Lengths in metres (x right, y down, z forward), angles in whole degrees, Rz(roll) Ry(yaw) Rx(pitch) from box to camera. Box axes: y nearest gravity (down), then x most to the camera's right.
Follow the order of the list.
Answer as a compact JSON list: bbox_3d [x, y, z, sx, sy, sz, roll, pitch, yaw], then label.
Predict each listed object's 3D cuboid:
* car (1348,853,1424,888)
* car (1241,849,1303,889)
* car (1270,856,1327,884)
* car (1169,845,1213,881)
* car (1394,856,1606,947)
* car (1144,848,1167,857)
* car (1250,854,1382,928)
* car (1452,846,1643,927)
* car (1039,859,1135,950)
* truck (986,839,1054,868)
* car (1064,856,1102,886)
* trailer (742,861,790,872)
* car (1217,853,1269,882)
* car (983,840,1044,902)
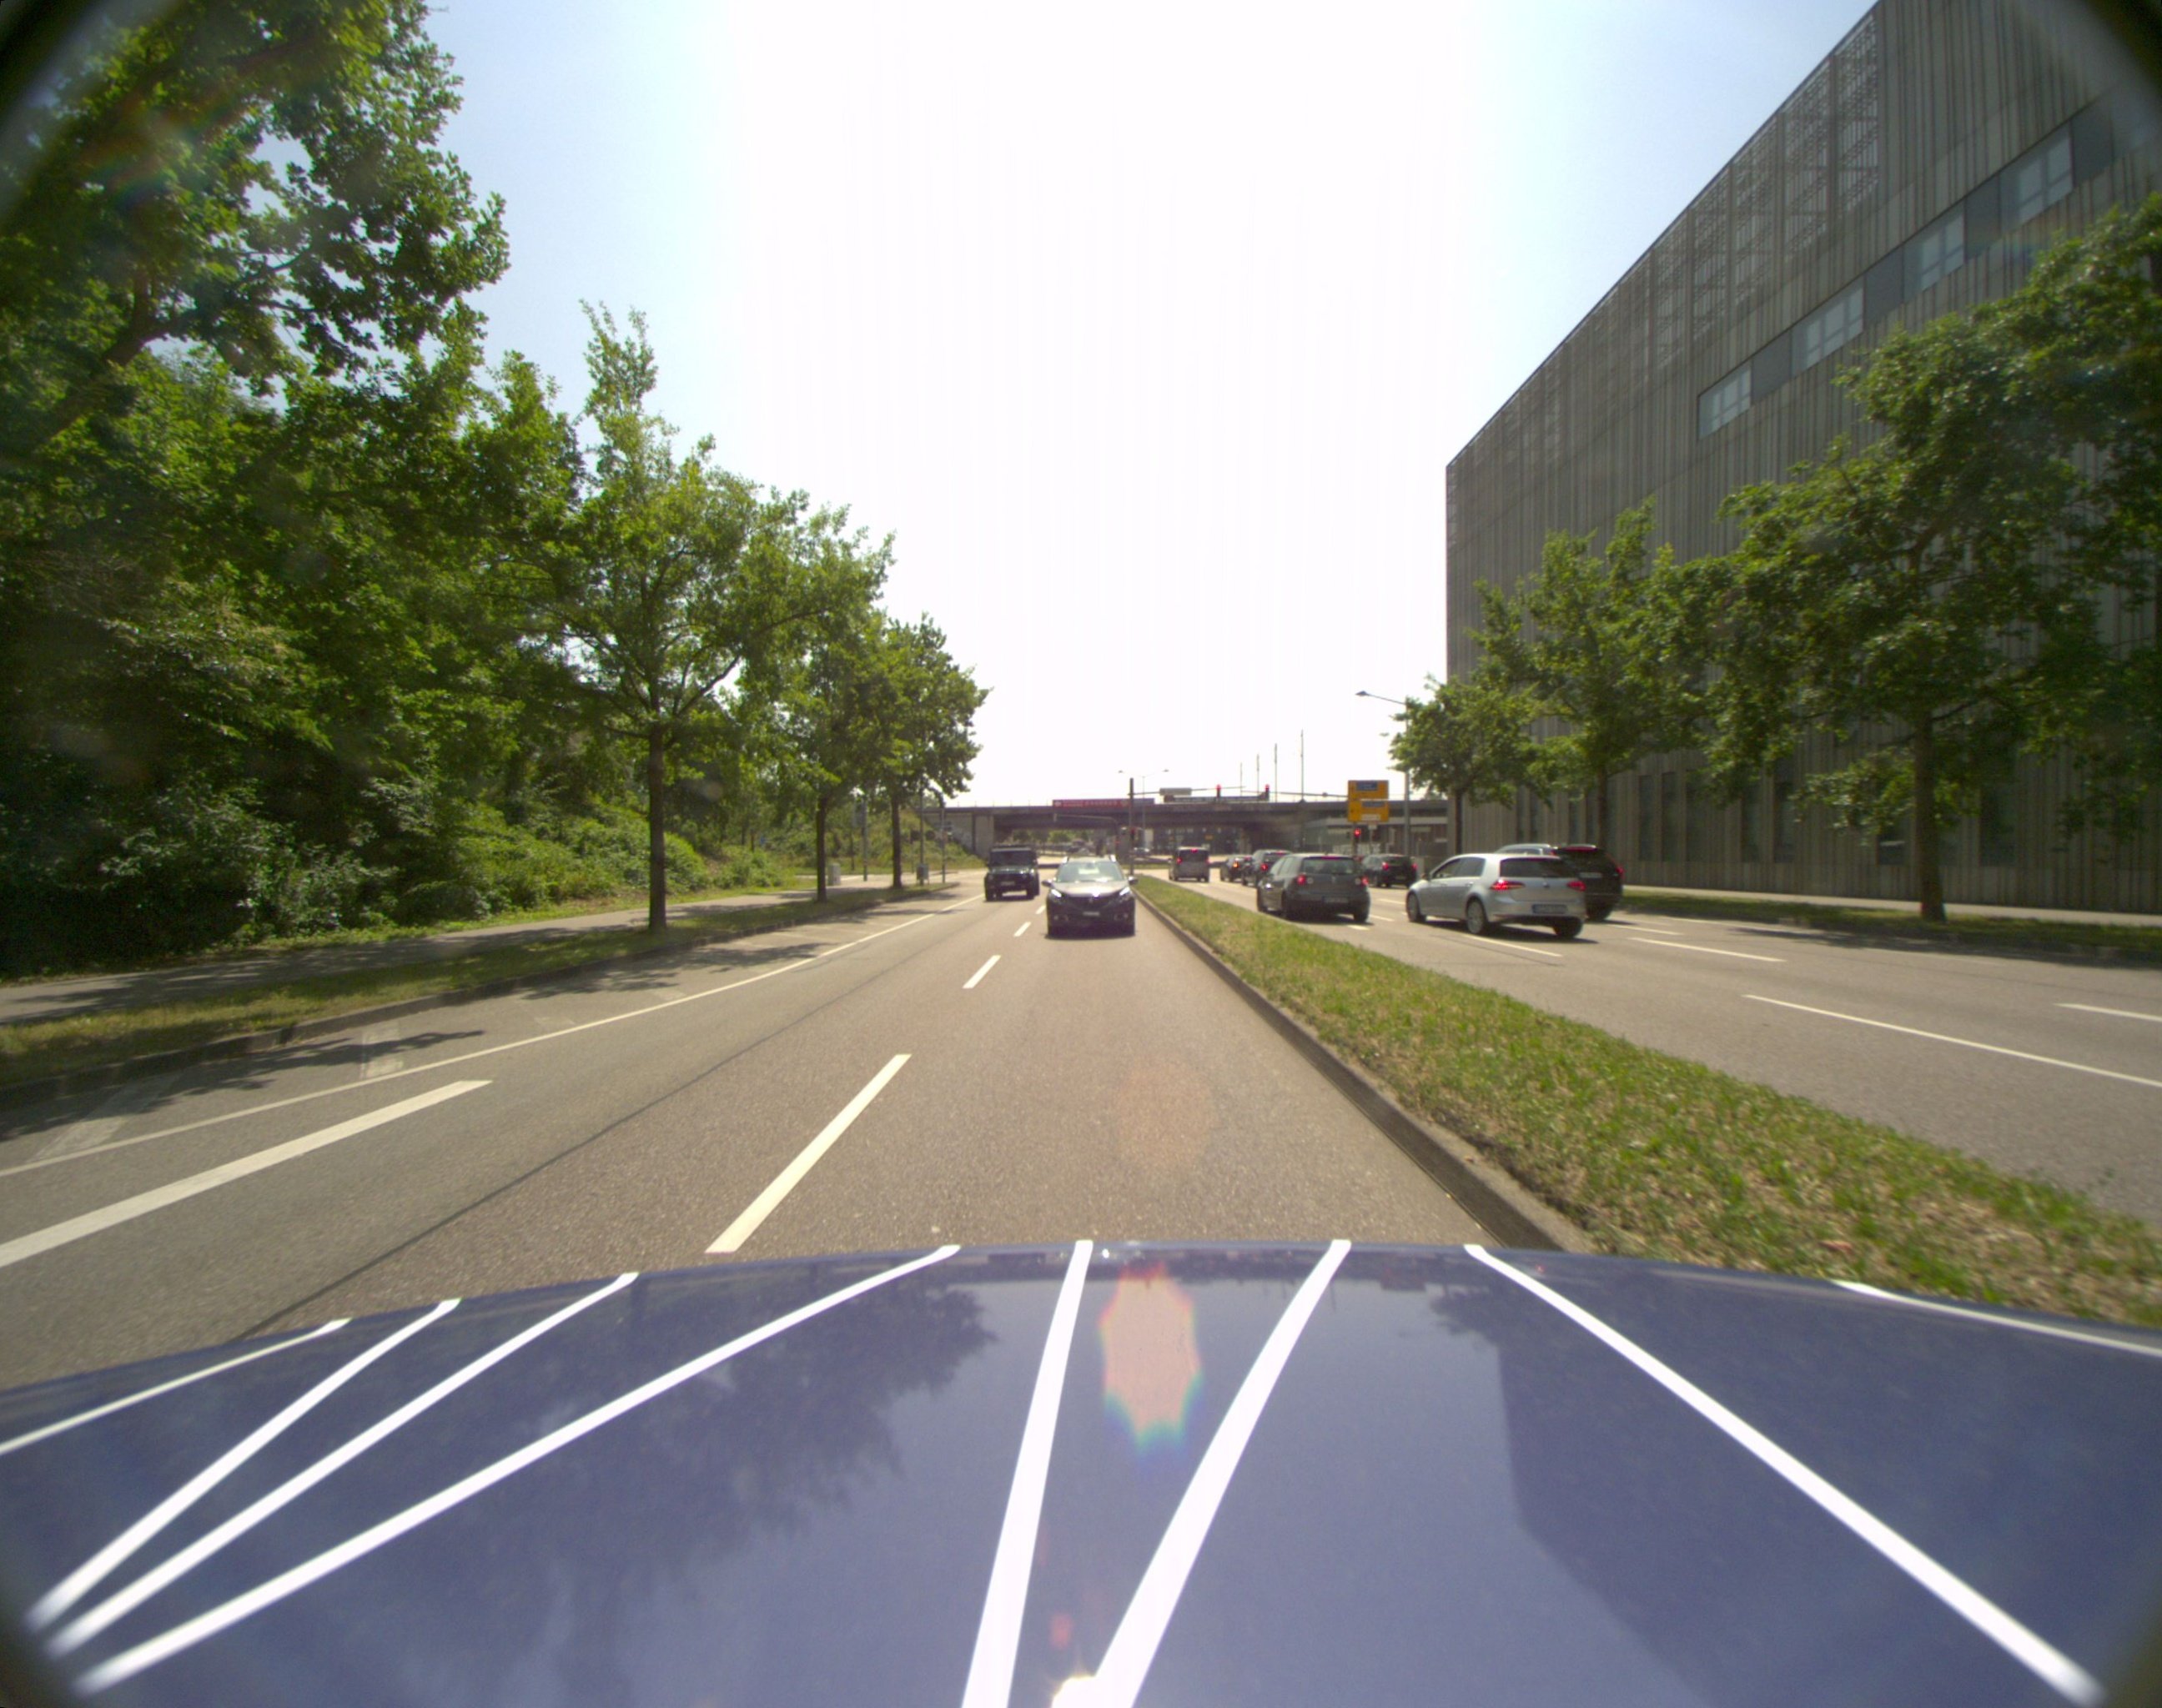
[{"bbox_3d":[14.548,0.767,36.514,1.815,1.534,4.369,1,0,-1],"label":"car"},{"bbox_3d":[8.319,0.612,33.503,1.806,1.653,4.573,0,0,3],"label":"car"},{"bbox_3d":[11.686,0.826,41.132,1.815,1.409,4.250,0,0,-1],"label":"car"},{"bbox_3d":[5.845,0.475,40.811,1.814,1.790,4.714,1,0,2],"label":"car"},{"bbox_3d":[7.765,0.790,14.606,1.770,1.452,4.145,1,0,0],"label":"car"},{"bbox_3d":[14.395,-0.285,146.159,3.991,1.674,2.003,-1,1,18],"label":"car"},{"bbox_3d":[5.190,0.744,17.378,1.815,1.458,4.057,1,0,1],"label":"car"},{"bbox_3d":[11.291,0.699,18.872,1.815,1.736,4.645,1,0,-1],"label":"car"},{"bbox_3d":[0.229,0.877,15.069,1.619,1.503,4.459,-1,0,3],"label":"car"},{"bbox_3d":[-6.307,-0.109,80.451,2.880,2.899,8.531,-1,0,29],"label":"truck"},{"bbox_3d":[0.056,0.837,39.221,1.817,1.456,3.999,-1,0,-1],"label":"car"},{"bbox_3d":[-29.982,1.210,72.455,3.830,0.936,1.681,-1,0,0],"label":"trailer"},{"bbox_3d":[8.577,0.660,40.646,1.815,1.437,4.250,0,0,-1],"label":"car"},{"bbox_3d":[-2.493,0.580,29.034,1.841,2.141,4.557,-1,1,1],"label":"car"}]
